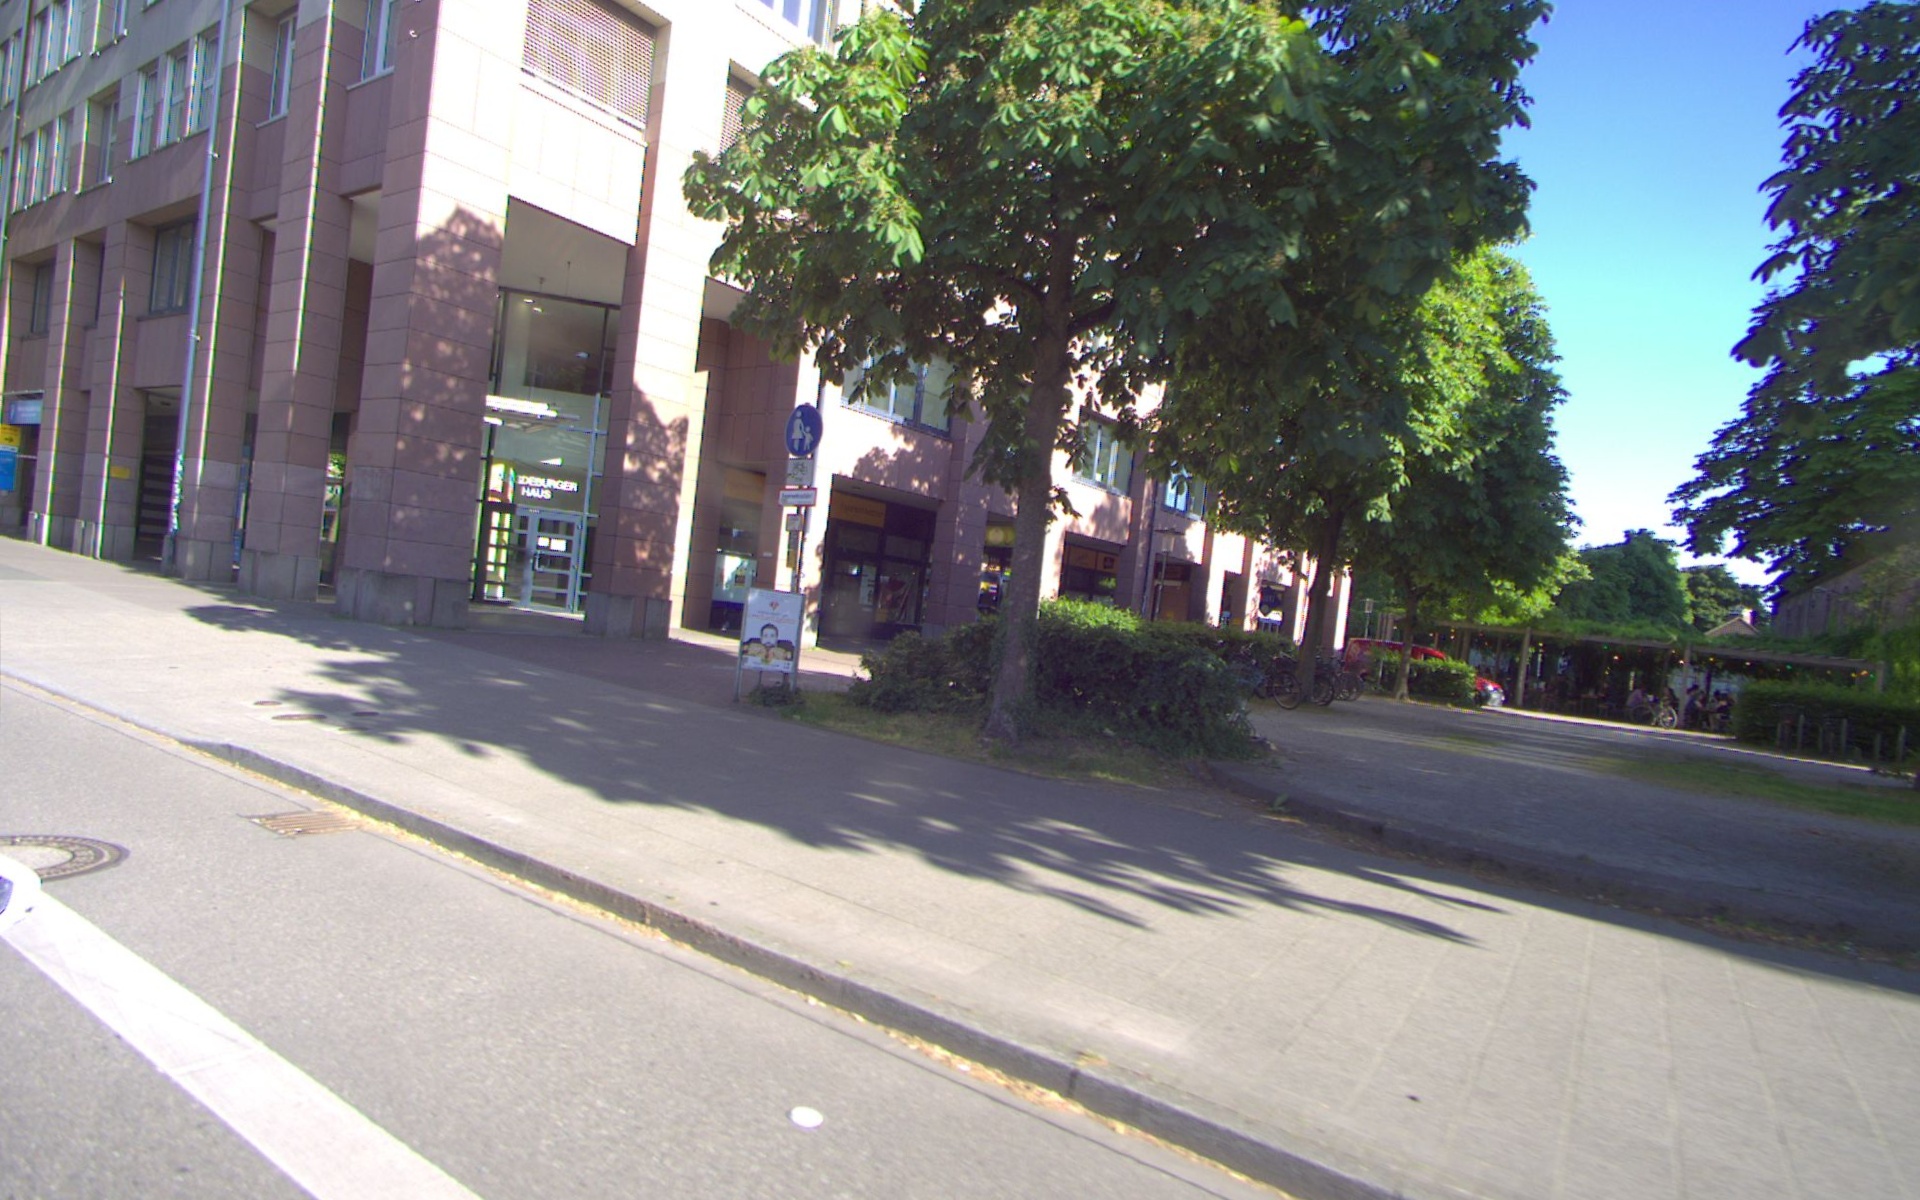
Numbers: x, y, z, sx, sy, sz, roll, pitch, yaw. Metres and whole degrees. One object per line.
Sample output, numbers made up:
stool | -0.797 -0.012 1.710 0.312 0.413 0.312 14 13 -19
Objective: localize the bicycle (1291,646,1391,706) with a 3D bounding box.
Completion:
bicycle | 9.136 1.817 24.144 2.095 1.143 0.452 7 -1 28

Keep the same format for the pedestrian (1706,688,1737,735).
pedestrian | 24.505 3.598 32.374 0.627 1.416 0.584 8 -1 -43

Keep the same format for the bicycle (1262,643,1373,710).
bicycle | 7.668 1.641 21.606 2.095 1.143 0.452 7 -1 27

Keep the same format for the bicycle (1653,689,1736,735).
bicycle | 24.528 3.736 33.634 2.097 1.143 0.451 8 0 32

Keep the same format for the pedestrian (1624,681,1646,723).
pedestrian | 23.168 3.491 34.534 0.485 1.365 0.351 7 -1 33

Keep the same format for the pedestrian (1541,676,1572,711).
pedestrian | 20.790 3.269 35.072 0.749 1.093 0.585 8 -1 -38

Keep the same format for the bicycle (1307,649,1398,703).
bicycle | 10.362 2.002 26.595 2.095 1.143 0.452 7 -1 27

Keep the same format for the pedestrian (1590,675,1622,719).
pedestrian | 22.604 3.389 35.204 0.825 1.416 0.585 8 -1 -38

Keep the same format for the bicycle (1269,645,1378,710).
bicycle | 7.987 1.696 22.145 2.095 1.143 0.452 7 -1 27

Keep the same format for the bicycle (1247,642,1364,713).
bicycle | 7.013 1.571 20.484 2.095 1.143 0.452 7 -1 27

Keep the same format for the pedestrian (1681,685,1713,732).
pedestrian | 24.074 3.549 32.864 0.826 1.416 0.584 8 -1 -43

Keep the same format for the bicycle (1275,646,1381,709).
bicycle | 8.292 1.738 22.722 2.095 1.143 0.452 7 -1 27

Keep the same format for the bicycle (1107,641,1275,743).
bicycle | 2.884 1.132 12.798 0.417 1.009 2.197 6 0 -40

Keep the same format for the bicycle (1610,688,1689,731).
bicycle | 22.765 3.602 33.256 0.447 1.143 2.119 7 -1 -26

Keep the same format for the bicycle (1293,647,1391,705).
bicycle | 9.374 1.858 24.704 2.095 1.143 0.452 7 -1 27

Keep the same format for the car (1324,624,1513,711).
car | 14.365 2.074 31.669 5.119 2.039 1.229 7 1 31

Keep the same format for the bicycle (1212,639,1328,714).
bicycle | 5.816 1.419 19.007 0.449 1.143 2.110 8 -1 -38
